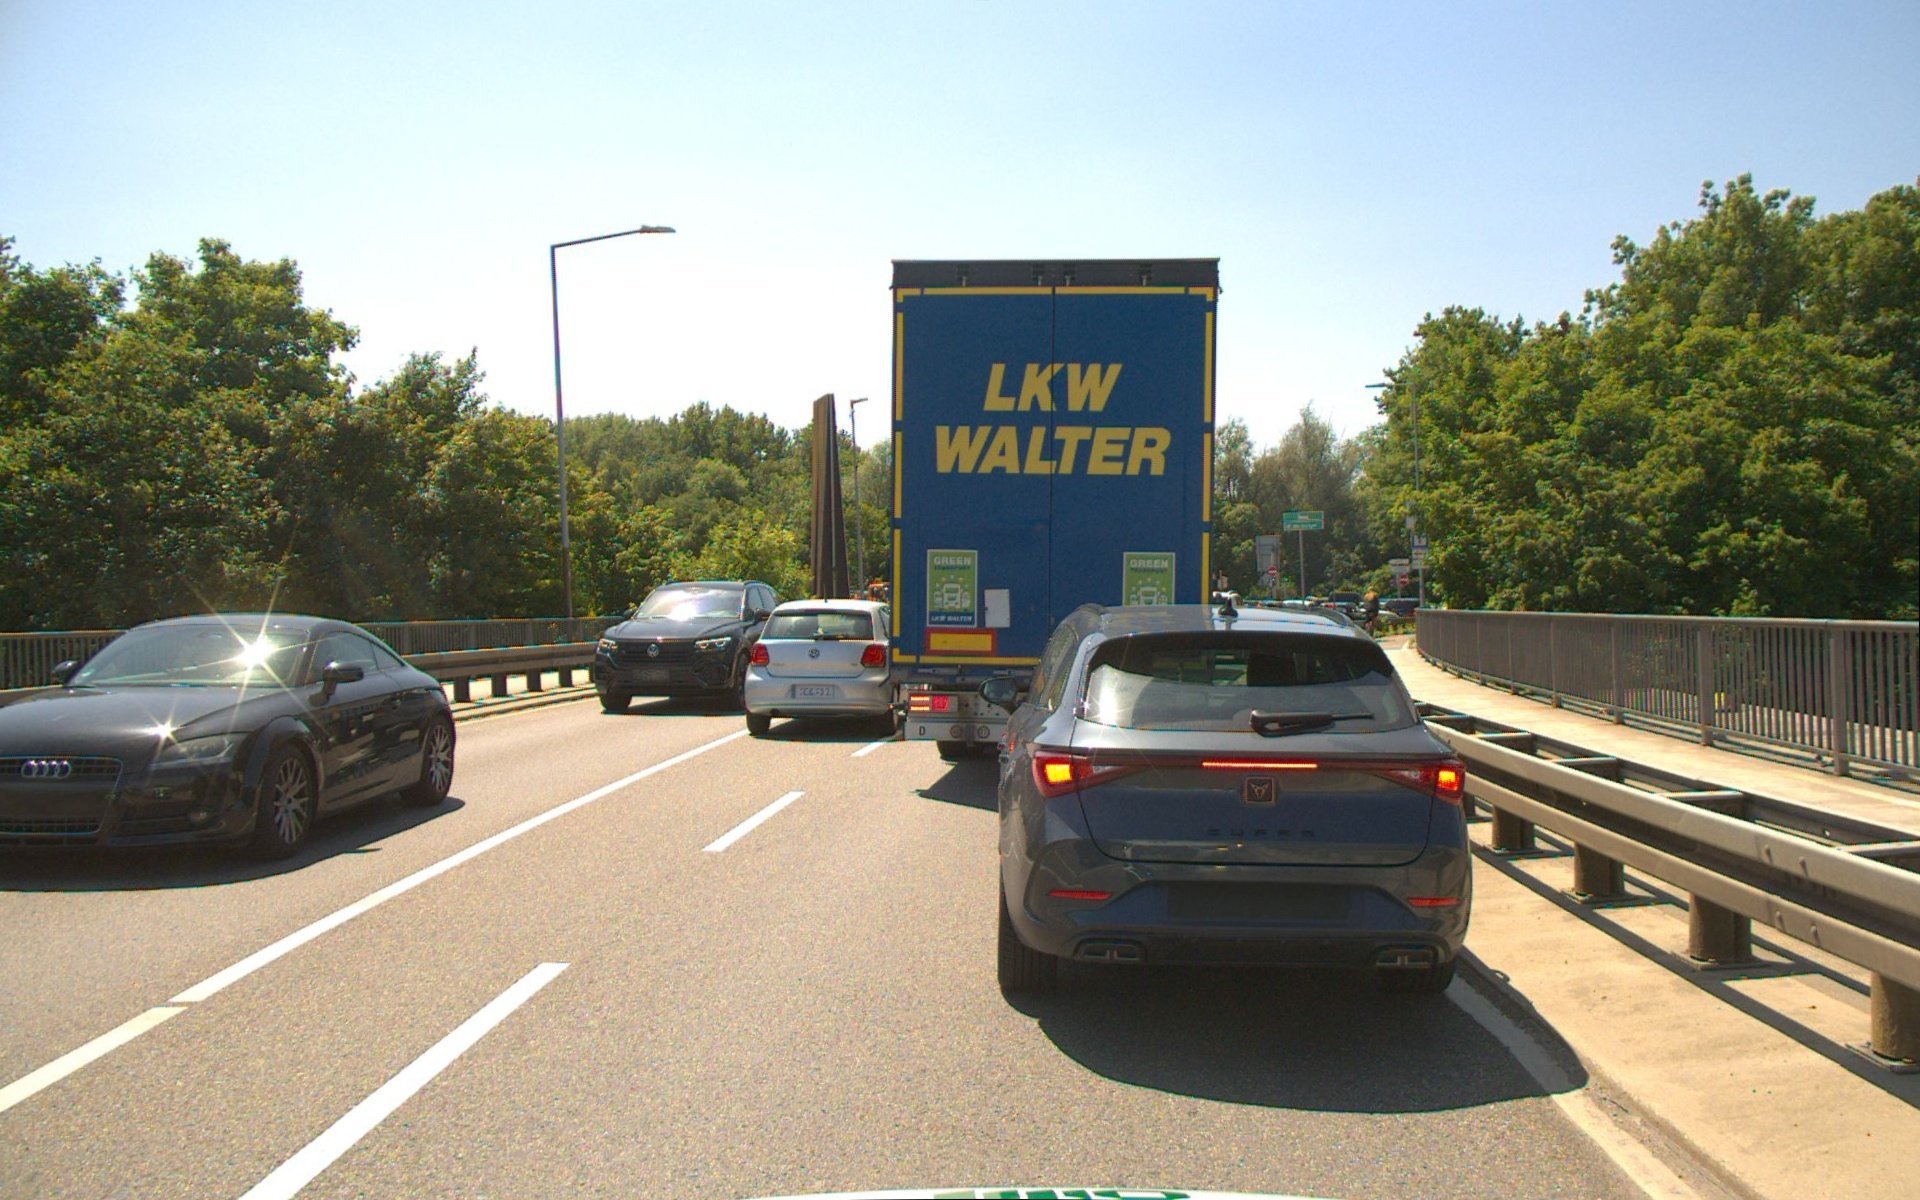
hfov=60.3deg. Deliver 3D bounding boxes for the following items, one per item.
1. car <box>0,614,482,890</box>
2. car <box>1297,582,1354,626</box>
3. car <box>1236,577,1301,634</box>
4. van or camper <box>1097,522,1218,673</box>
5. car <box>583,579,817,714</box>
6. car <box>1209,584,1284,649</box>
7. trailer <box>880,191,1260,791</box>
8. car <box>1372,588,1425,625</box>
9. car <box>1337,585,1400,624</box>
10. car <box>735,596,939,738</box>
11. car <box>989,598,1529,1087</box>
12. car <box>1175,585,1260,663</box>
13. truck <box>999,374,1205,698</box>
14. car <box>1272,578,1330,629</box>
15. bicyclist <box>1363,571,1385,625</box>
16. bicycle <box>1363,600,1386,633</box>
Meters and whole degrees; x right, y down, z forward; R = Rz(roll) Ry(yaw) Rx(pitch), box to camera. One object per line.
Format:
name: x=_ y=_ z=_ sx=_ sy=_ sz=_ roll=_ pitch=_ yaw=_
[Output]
car: x=-4.438 y=0.776 z=10.272 sx=1.643 sy=1.331 sz=3.974 roll=0 pitch=0 yaw=2
car: x=15.383 y=0.164 z=69.434 sx=1.651 sy=1.791 sz=3.999 roll=0 pitch=-1 yaw=23
car: x=10.648 y=0.159 z=56.930 sx=1.685 sy=1.876 sz=4.002 roll=0 pitch=0 yaw=19
van or camper: x=4.269 y=-0.071 z=34.850 sx=2.108 sy=2.865 sz=6.393 roll=0 pitch=0 yaw=11
car: x=-3.500 y=0.582 z=23.244 sx=1.924 sy=1.702 sz=4.617 roll=-1 pitch=0 yaw=9
car: x=8.465 y=0.438 z=48.647 sx=1.684 sy=1.834 sz=4.002 roll=0 pitch=0 yaw=17
trailer: x=1.499 y=-0.863 z=18.715 sx=2.843 sy=4.496 sz=12.442 roll=0 pitch=0 yaw=6
car: x=21.680 y=0.324 z=81.664 sx=1.653 sy=1.791 sz=3.994 roll=0 pitch=-1 yaw=28
car: x=18.715 y=0.211 z=75.693 sx=1.954 sy=1.603 sz=3.996 roll=2 pitch=-1 yaw=26
car: x=-1.311 y=0.695 z=19.226 sx=1.641 sy=1.436 sz=3.978 roll=1 pitch=0 yaw=6
car: x=1.005 y=0.733 z=7.038 sx=1.642 sy=1.481 sz=3.960 roll=0 pitch=0 yaw=3
car: x=6.660 y=0.562 z=42.474 sx=1.684 sy=1.876 sz=4.003 roll=0 pitch=1 yaw=16
truck: x=2.370 y=-0.919 z=26.416 sx=2.843 sy=4.496 sz=6.560 roll=0 pitch=0 yaw=7
car: x=12.970 y=0.107 z=62.722 sx=1.685 sy=1.876 sz=4.002 roll=0 pitch=0 yaw=19
bicyclist: x=13.553 y=-0.067 z=54.168 sx=0.565 sy=1.712 sz=0.730 roll=-3 pitch=0 yaw=9
bicycle: x=13.579 y=0.534 z=54.202 sx=0.569 sy=1.053 sz=1.486 roll=-3 pitch=0 yaw=9
